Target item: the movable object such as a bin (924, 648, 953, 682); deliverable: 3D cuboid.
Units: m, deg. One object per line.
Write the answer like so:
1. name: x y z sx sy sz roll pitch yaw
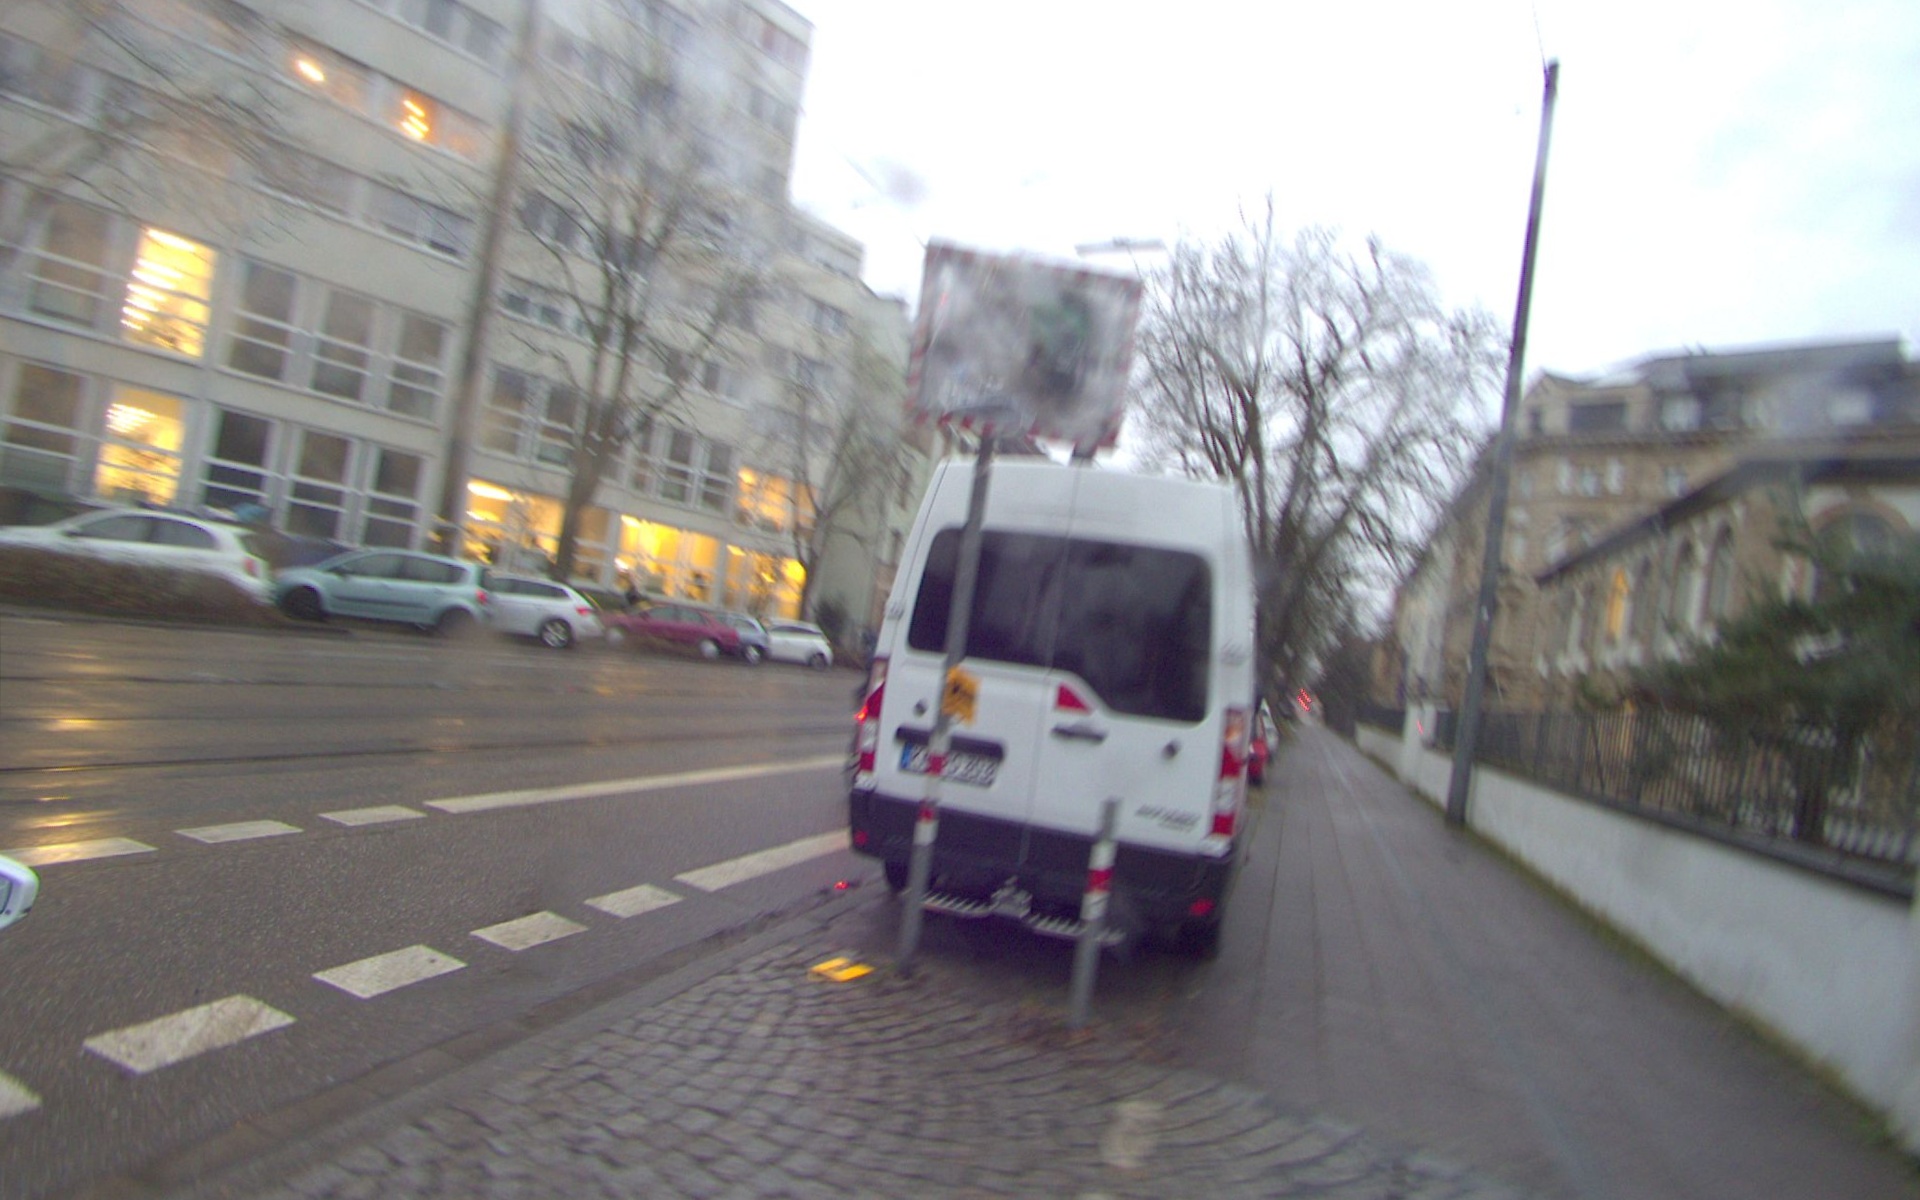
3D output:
1. movable object such as a bin: -1.085 3.262 50.622 1.244 1.466 1.112 9 -2 -2

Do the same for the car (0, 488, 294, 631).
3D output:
1. car: -13.026 -0.621 15.862 3.832 1.569 1.683 10 -2 -25

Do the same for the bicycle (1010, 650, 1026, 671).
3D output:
1. bicycle: 3.678 3.829 63.405 0.681 1.226 1.599 8 -2 10

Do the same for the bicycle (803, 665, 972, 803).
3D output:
1. bicycle: -0.646 1.286 9.879 0.697 1.109 2.031 8 -2 22

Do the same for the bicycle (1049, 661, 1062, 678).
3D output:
1. bicycle: 6.847 4.979 72.360 0.681 1.041 1.601 8 -4 10

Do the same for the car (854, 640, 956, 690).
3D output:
1. car: -2.440 2.865 44.379 3.955 1.486 1.821 11 -3 -26

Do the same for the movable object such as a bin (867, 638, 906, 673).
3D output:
1. movable object such as a bin: -3.623 2.729 49.464 1.245 1.466 1.326 8 -2 27

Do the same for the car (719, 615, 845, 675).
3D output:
1. car: -6.134 1.547 34.682 3.809 1.439 1.726 10 -2 -26

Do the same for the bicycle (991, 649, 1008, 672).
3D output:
1. bicycle: 2.309 3.581 59.112 0.619 1.226 1.599 8 -2 10

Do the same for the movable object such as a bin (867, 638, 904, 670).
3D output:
1. movable object such as a bin: -3.900 2.842 52.858 1.245 1.466 1.326 8 -2 27

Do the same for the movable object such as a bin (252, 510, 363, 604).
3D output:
1. movable object such as a bin: -15.236 -0.988 23.513 1.546 1.881 1.318 8 -1 21

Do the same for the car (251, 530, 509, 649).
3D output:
1. car: -11.035 -0.159 19.493 3.950 1.581 1.728 10 -2 -23

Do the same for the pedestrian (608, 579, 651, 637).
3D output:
1. pedestrian: -10.431 0.252 31.765 0.587 1.696 0.974 8 -2 19

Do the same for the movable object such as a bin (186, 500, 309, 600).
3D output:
1. movable object such as a bin: -15.727 -1.094 22.239 1.546 1.881 1.394 8 -1 21

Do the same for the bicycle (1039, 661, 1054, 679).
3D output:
1. bicycle: 6.045 4.856 70.011 0.681 1.040 1.602 8 -7 15

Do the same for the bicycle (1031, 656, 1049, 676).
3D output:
1. bicycle: 5.394 4.477 68.092 0.681 1.040 1.600 7 -7 21

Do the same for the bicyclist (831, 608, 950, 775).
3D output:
1. bicyclist: -0.657 0.885 9.755 0.646 1.462 0.850 8 -2 22

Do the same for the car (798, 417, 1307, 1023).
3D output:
1. car: 1.129 0.708 7.336 2.091 2.514 5.447 8 -2 17

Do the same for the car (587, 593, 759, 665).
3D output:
1. car: -8.120 0.824 28.571 4.303 1.366 1.738 10 -4 -29

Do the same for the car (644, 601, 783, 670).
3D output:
1. car: -7.682 1.121 31.404 3.941 1.479 1.733 10 -3 -15

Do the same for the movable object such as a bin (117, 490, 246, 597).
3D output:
1. movable object such as a bin: -16.172 -1.159 20.929 1.546 1.881 1.318 8 -1 21

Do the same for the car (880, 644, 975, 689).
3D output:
1. car: -1.515 3.108 47.332 3.951 1.444 1.839 10 -2 -23

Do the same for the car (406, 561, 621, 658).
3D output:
1. car: -9.766 0.247 22.333 3.939 1.459 1.734 10 -3 -14

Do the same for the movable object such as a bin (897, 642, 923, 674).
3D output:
1. movable object such as a bin: -2.523 2.910 50.644 1.073 1.466 1.112 9 -2 -2
